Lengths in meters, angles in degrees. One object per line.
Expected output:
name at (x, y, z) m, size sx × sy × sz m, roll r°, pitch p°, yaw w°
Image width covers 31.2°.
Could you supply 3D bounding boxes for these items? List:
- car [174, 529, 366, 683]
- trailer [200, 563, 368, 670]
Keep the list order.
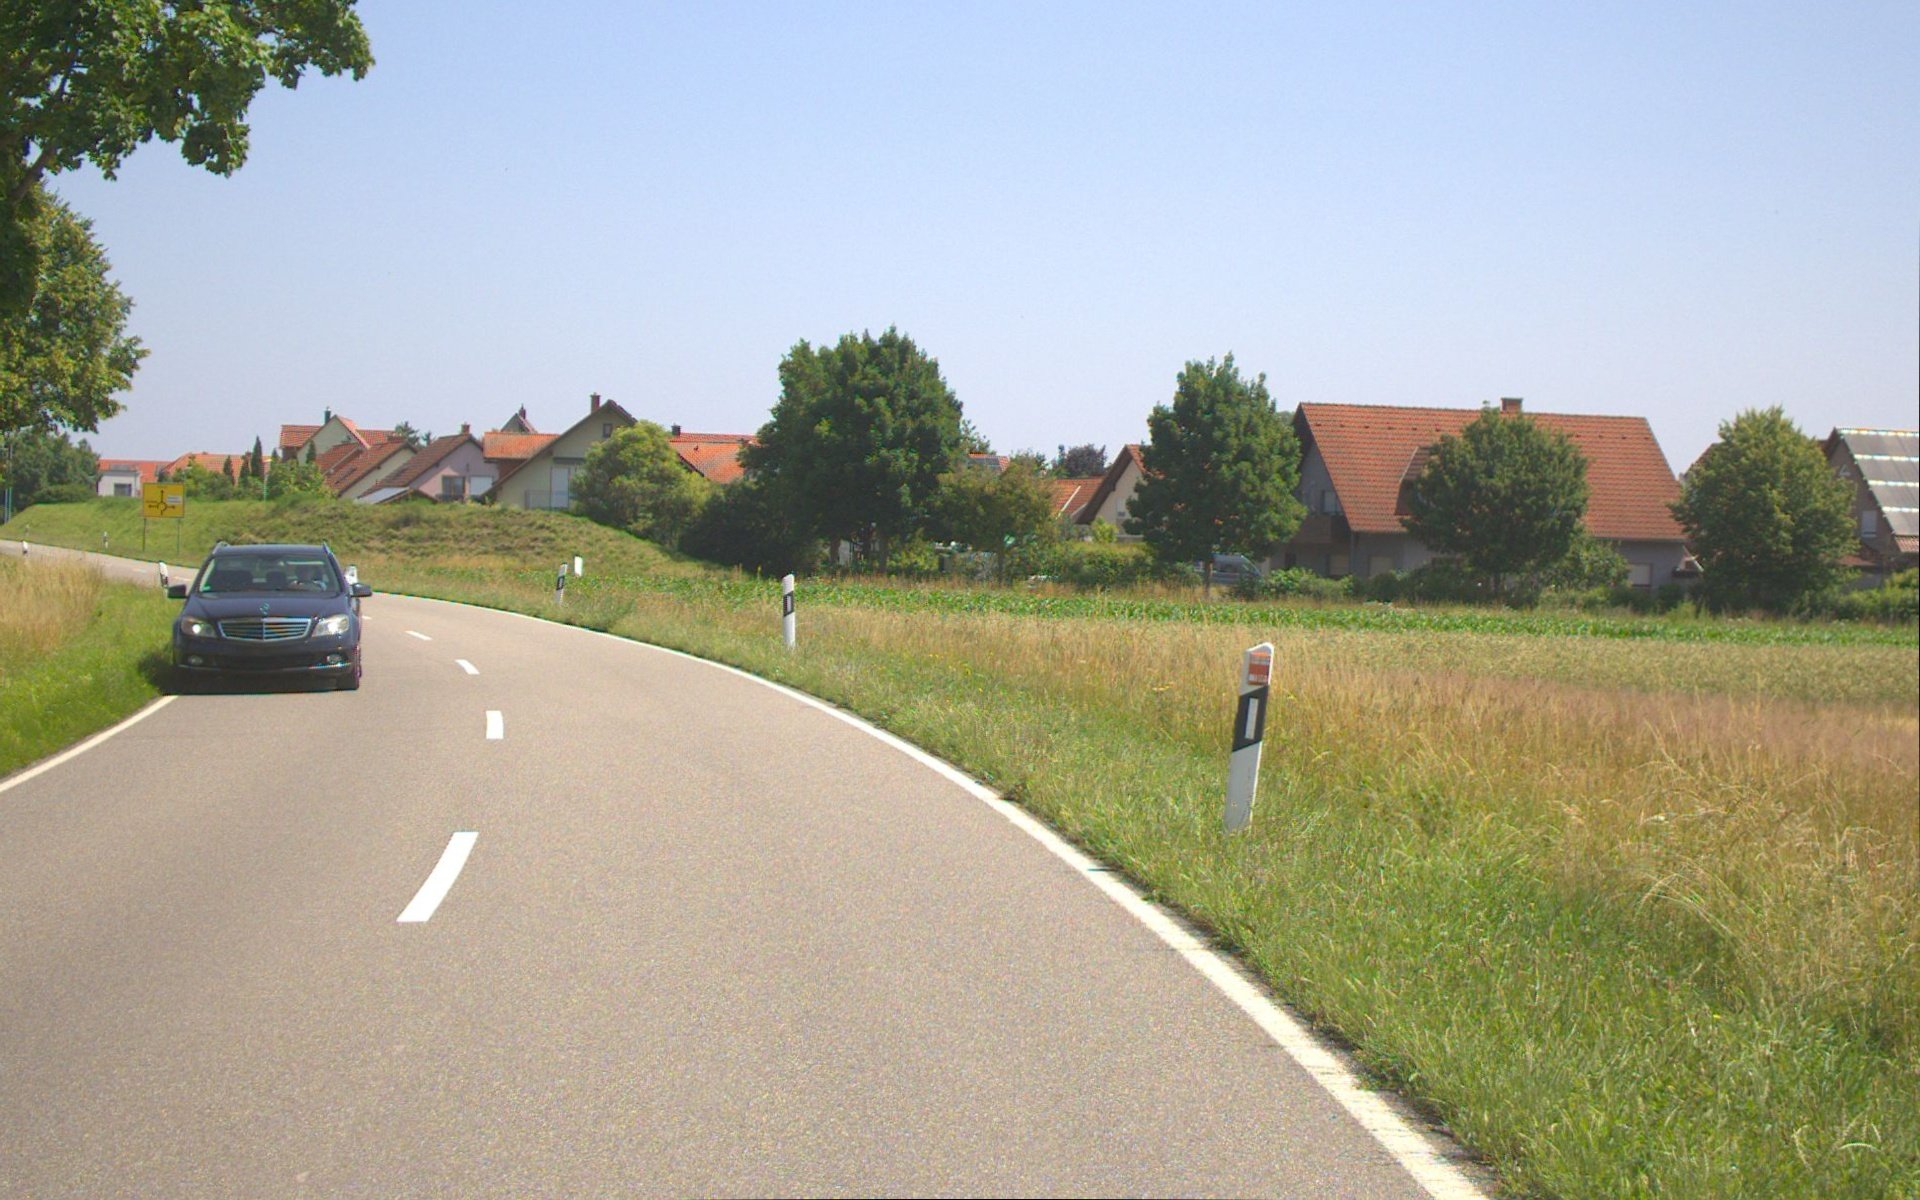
car at (-6.890, 0.015, 34.645) m, size 1.643 × 1.424 × 4.181 m, roll -1°, pitch 1°, yaw -8°
trailer at (-7.570, 0.148, 38.751) m, size 1.622 × 1.061 × 4.120 m, roll -2°, pitch 1°, yaw -8°
